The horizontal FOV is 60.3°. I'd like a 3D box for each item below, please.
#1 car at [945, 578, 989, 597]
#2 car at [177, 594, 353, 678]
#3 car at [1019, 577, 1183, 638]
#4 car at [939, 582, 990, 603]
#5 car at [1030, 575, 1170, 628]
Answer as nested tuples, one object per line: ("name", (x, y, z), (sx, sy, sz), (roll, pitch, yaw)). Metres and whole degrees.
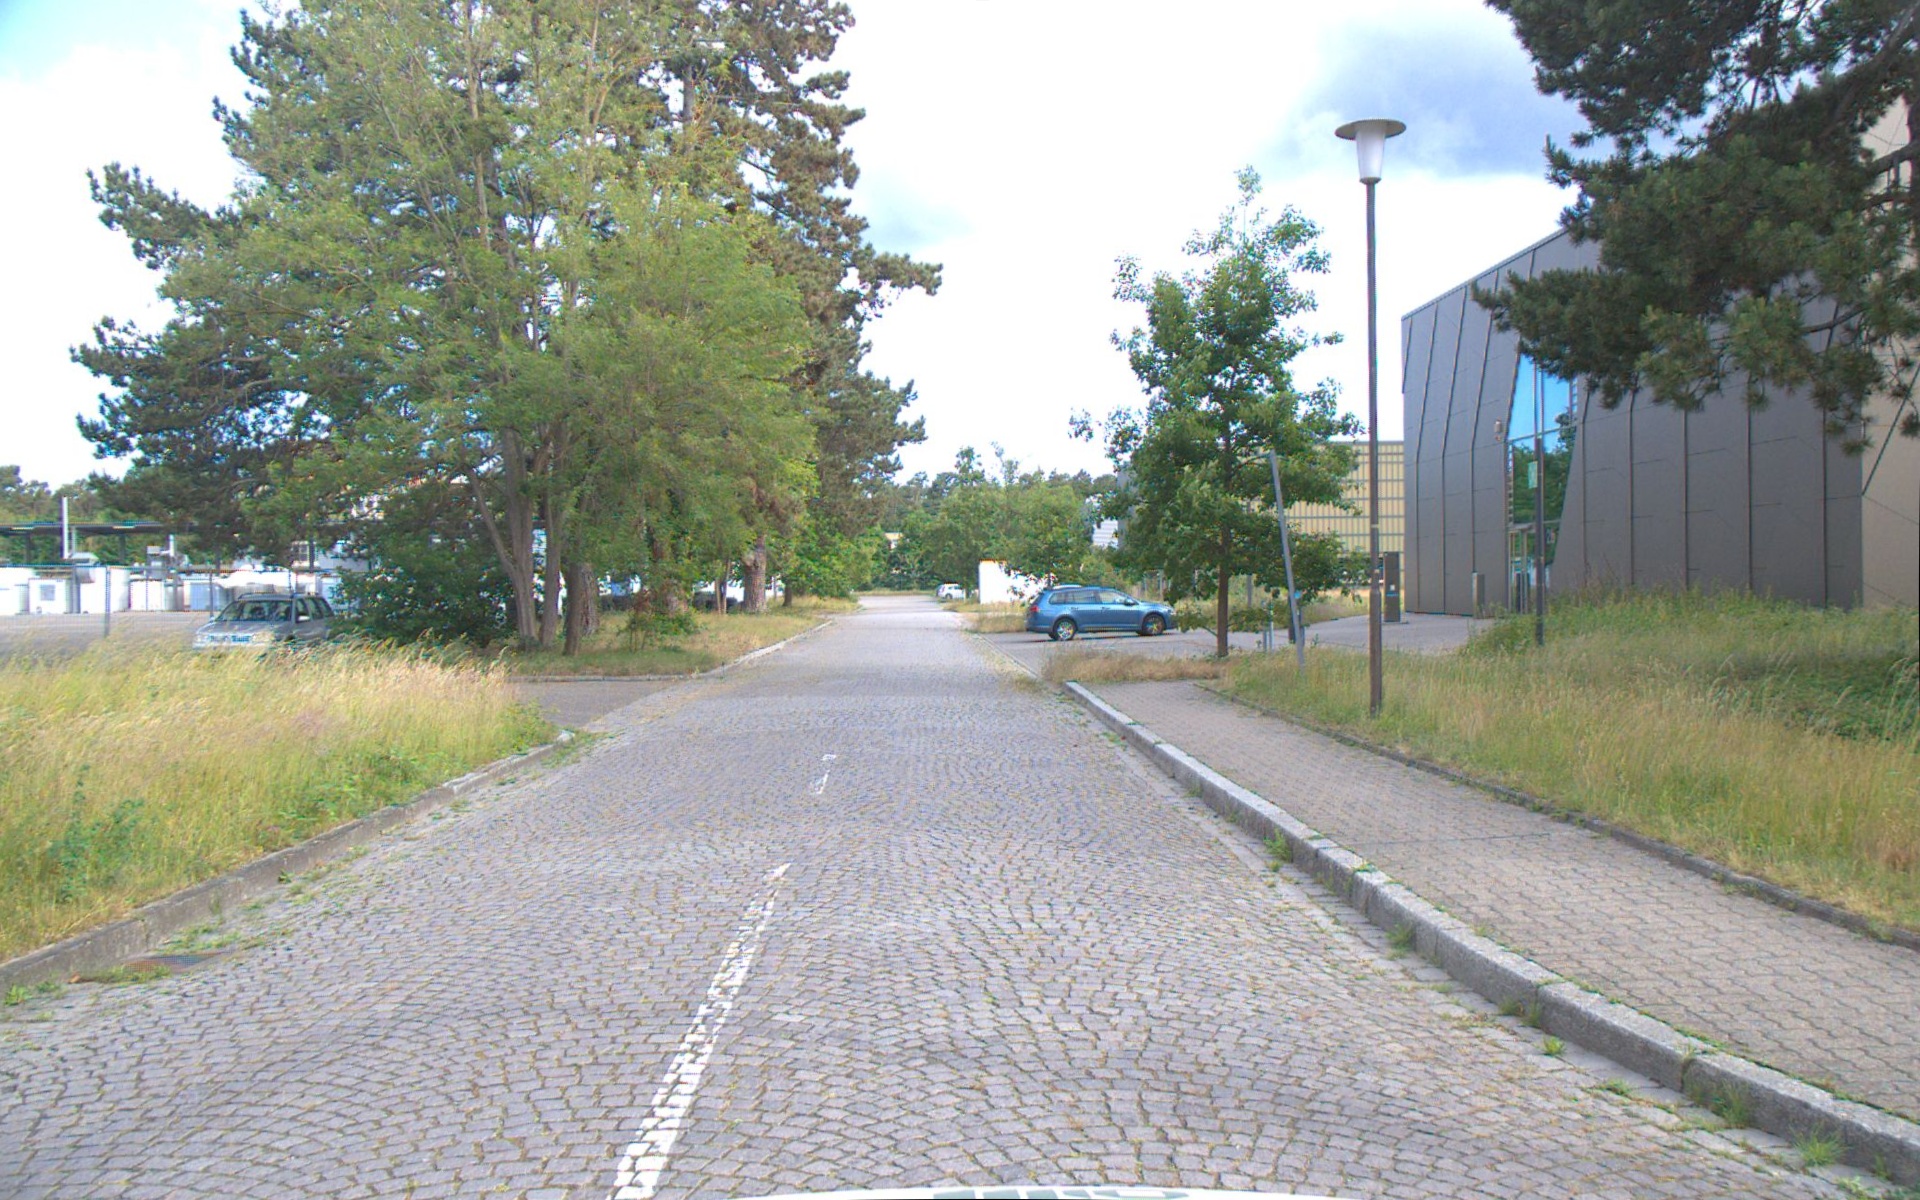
("car", (0.656, -1.266, 162.602), (4.266, 1.811, 1.925), (-1, 0, -1))
("car", (-13.621, 0.653, 32.698), (1.881, 1.502, 4.365), (-1, 1, -4))
("car", (4.063, 0.198, 48.125), (4.430, 1.558, 1.998), (-2, 1, -5))
("car", (0.407, -0.653, 141.594), (4.268, 1.717, 1.924), (-1, 0, -3))
("car", (4.657, 0.046, 55.511), (4.426, 1.558, 2.000), (-2, 1, -1))
